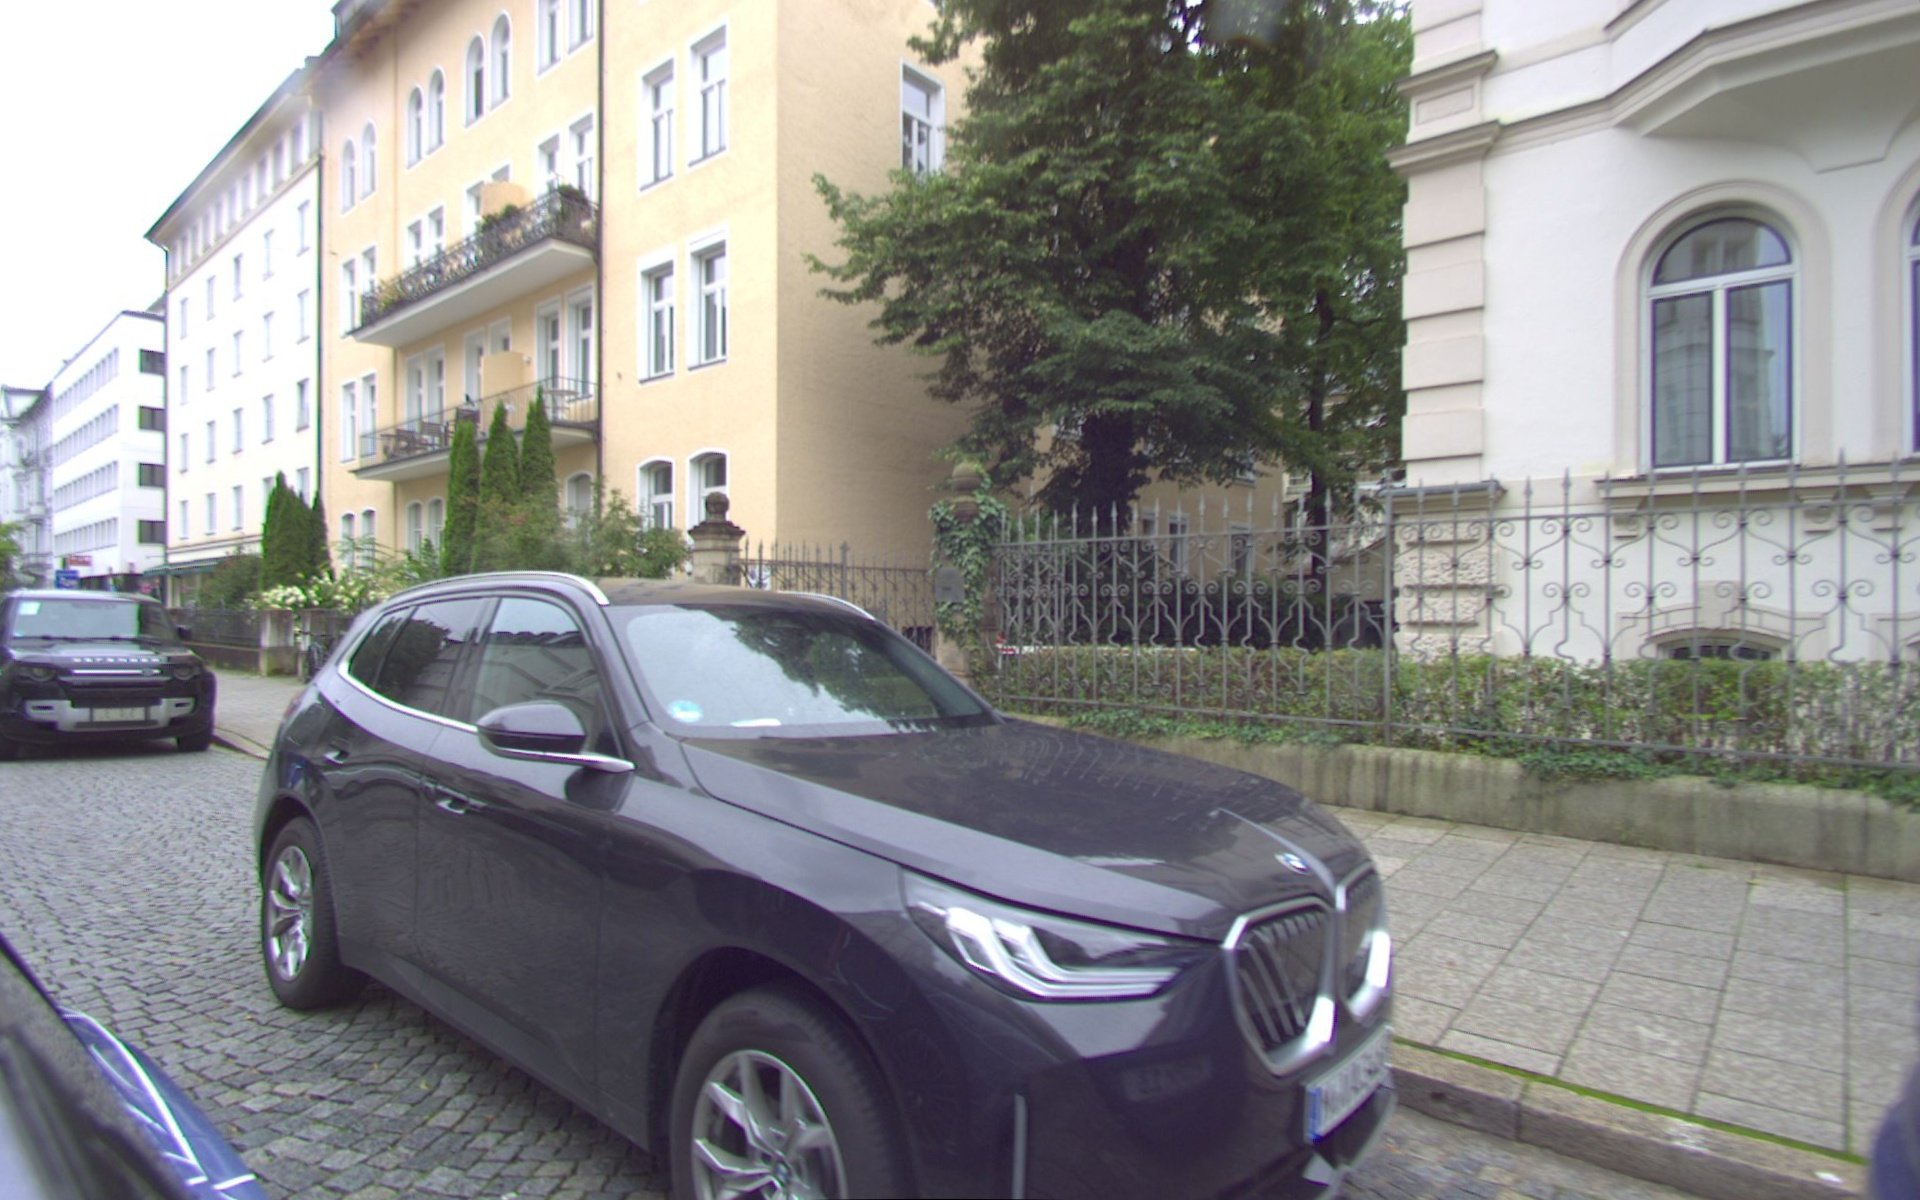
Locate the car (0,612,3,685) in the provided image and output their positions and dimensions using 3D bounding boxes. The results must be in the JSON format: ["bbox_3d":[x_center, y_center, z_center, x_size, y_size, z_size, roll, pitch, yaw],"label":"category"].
[{"bbox_3d":[-23.977,1.118,23.824,4.390,1.660,1.755,0,0,42],"label":"car"}]

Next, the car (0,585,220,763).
[{"bbox_3d":[-10.673,0.764,12.146,4.721,1.751,1.961,-1,-1,42],"label":"car"}]

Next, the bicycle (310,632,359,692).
[{"bbox_3d":[-11.444,1.113,18.497,1.572,1.010,0.348,0,0,42],"label":"bicycle"}]

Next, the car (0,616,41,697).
[{"bbox_3d":[-19.356,1.063,19.654,4.389,1.440,1.755,0,0,41],"label":"car"}]

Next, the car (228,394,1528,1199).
[{"bbox_3d":[-0.750,0.605,3.382,4.387,1.730,1.756,0,0,40],"label":"car"}]

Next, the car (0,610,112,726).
[{"bbox_3d":[-14.706,0.977,15.832,4.054,1.602,1.563,0,-2,41],"label":"car"}]

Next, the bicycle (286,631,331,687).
[{"bbox_3d":[-12.662,1.120,19.647,1.572,1.010,0.348,0,0,42],"label":"bicycle"}]

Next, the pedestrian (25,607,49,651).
[{"bbox_3d":[-40.210,1.254,44.100,0.812,1.854,0.608,0,0,34],"label":"pedestrian"}]
